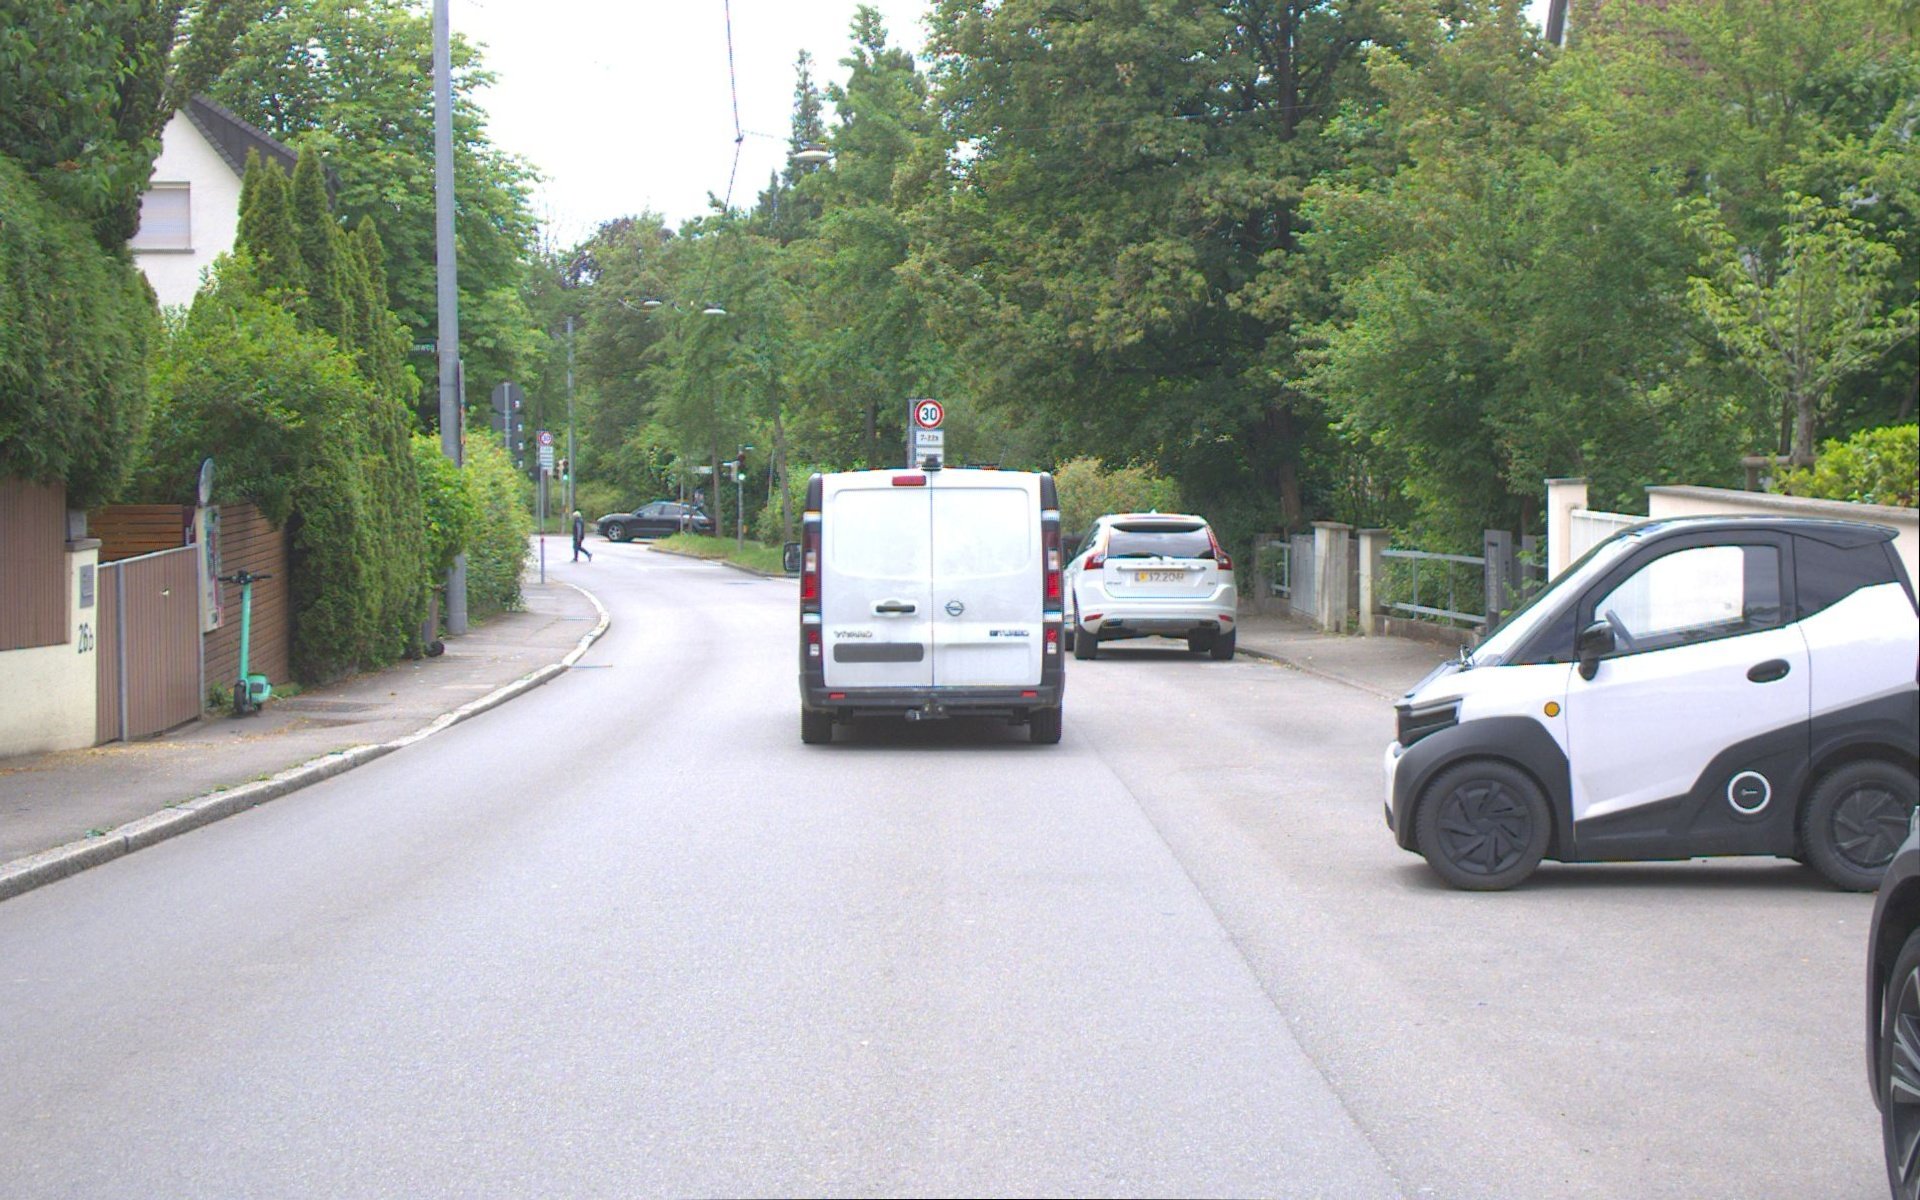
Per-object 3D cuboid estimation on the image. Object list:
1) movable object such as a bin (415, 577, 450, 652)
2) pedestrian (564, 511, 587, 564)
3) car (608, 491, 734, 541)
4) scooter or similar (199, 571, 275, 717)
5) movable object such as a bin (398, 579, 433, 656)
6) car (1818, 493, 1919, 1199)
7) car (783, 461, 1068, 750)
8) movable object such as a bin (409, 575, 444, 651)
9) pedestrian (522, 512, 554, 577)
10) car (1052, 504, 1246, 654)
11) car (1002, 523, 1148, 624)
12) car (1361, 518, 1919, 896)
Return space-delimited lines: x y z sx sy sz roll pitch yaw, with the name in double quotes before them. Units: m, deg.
"movable object such as a bin" -6.424 0.173 41.869 0.336 0.890 0.476 1 1 0
"pedestrian" -11.798 -1.914 105.439 0.697 1.610 0.715 0 3 -7
"car" -11.026 -3.204 131.298 4.394 1.853 1.901 1 2 21
"scooter or similar" -5.995 0.352 28.533 0.391 1.167 1.270 0 1 -2
"movable object such as a bin" -6.440 0.203 40.672 0.336 0.890 0.476 1 1 0
"car" 2.849 0.627 5.447 1.829 1.618 4.492 0 1 0
"car" -0.299 -0.038 25.562 1.930 1.957 4.402 0 2 -2
"movable object such as a bin" -6.400 0.150 41.285 0.336 0.890 0.476 1 1 0
"pedestrian" -10.455 -1.376 85.146 0.706 1.604 0.576 -1 1 -2
"car" 2.183 -0.286 40.749 1.865 1.679 4.351 0 1 -3
"car" 1.703 -0.426 51.972 1.709 1.482 3.791 0 1 -6
"car" 2.903 0.431 14.778 2.287 1.518 1.318 -1 2 5
